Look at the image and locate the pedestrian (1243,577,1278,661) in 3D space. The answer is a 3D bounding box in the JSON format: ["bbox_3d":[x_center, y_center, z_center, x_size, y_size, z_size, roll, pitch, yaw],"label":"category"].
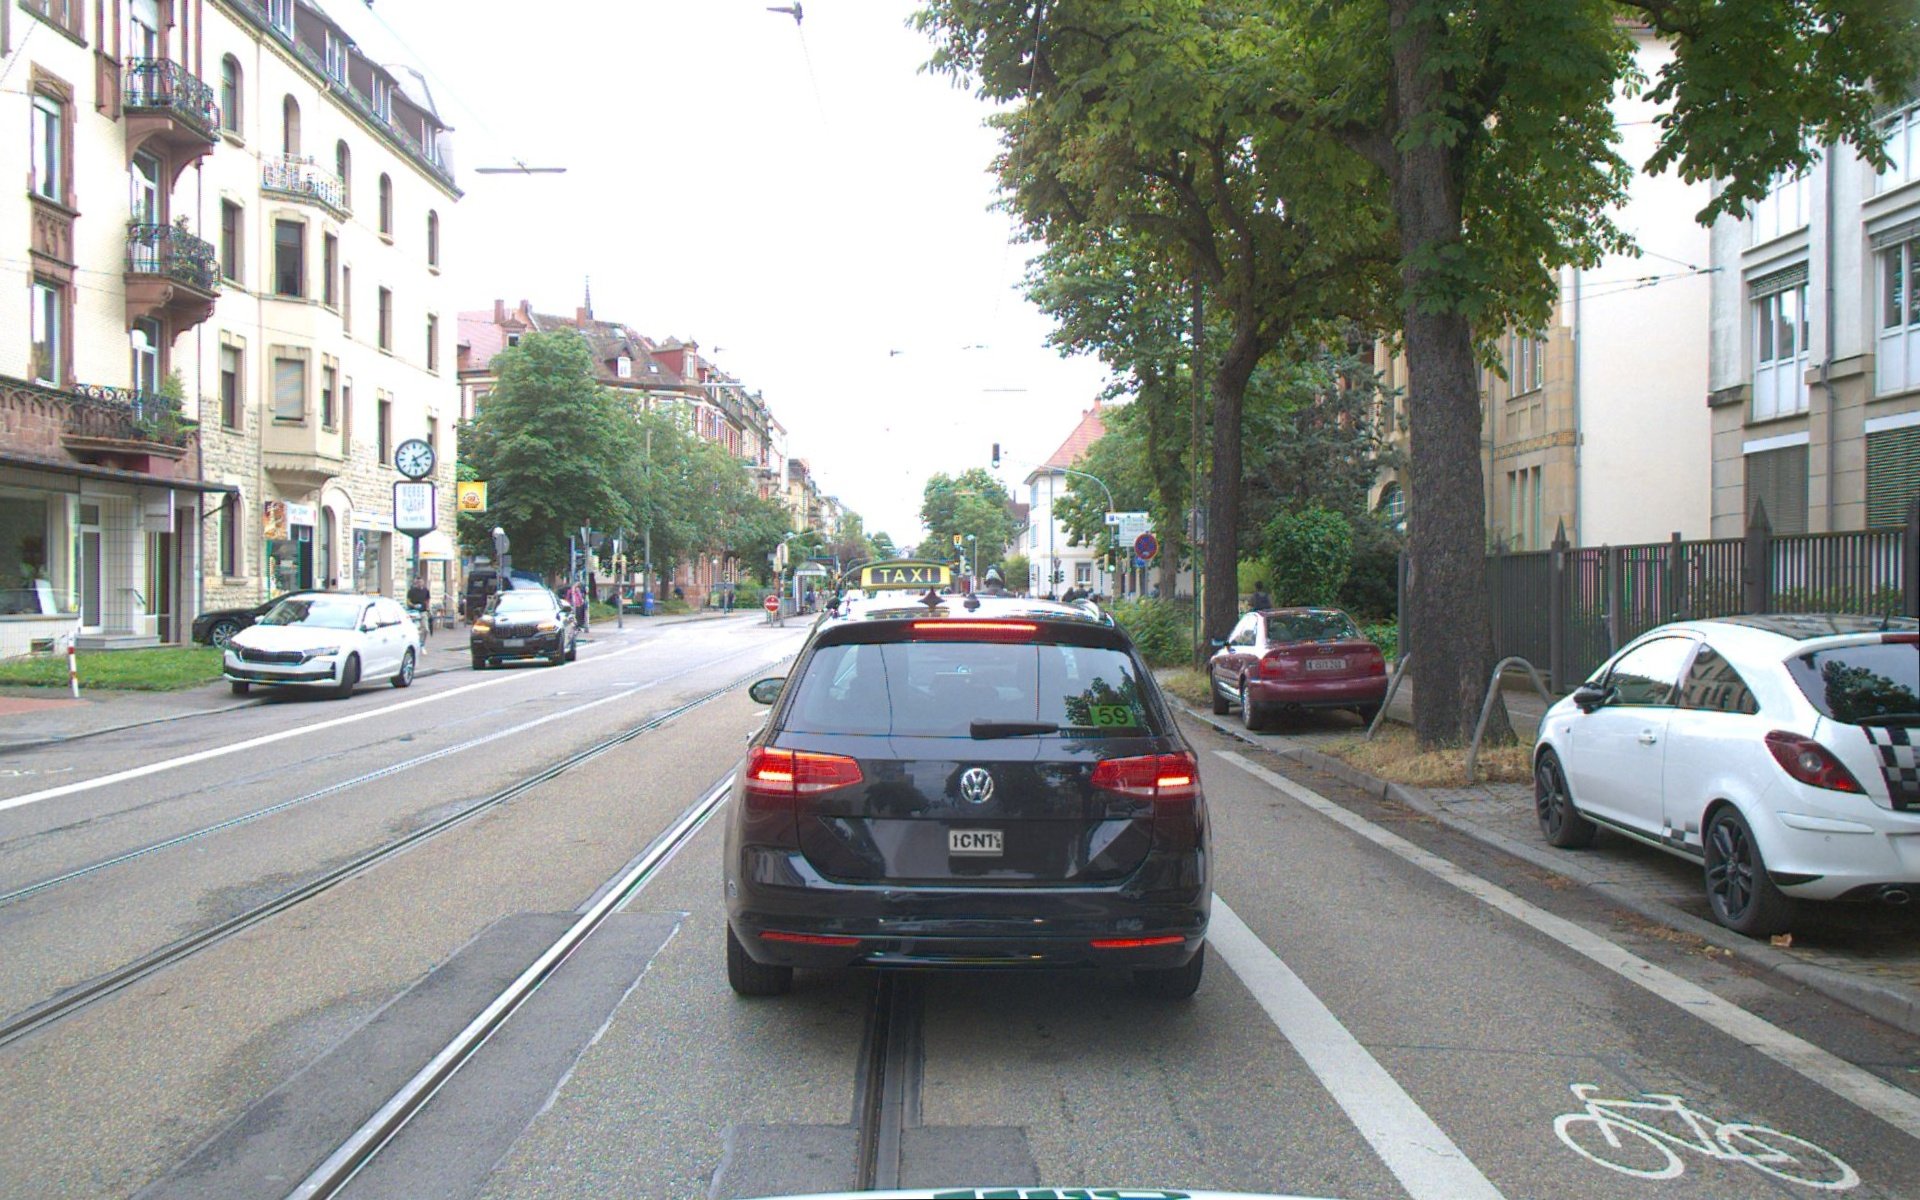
[{"bbox_3d":[6.675,0.420,36.741,0.619,1.846,0.726,0,0,-3],"label":"pedestrian"}]

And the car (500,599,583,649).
[{"bbox_3d":[-12.577,0.694,49.942,1.616,1.385,4.127,2,0,-3],"label":"car"}]

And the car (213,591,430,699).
[{"bbox_3d":[-9.802,0.629,25.783,1.712,1.510,4.607,0,0,-2],"label":"car"}]

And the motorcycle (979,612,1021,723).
[{"bbox_3d":[0.480,0.794,20.270,0.437,1.257,1.906,0,0,-1],"label":"motorcycle"}]

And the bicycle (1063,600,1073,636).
[{"bbox_3d":[3.698,0.614,56.384,0.247,1.217,1.158,0,0,8],"label":"bicycle"}]

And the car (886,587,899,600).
[{"bbox_3d":[-8.787,-0.825,215.693,1.686,1.651,3.862,0,0,-1],"label":"car"}]

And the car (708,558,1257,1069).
[{"bbox_3d":[0.044,0.648,7.114,1.688,1.573,3.999,0,0,-1],"label":"car"}]

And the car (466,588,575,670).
[{"bbox_3d":[-9.858,0.608,37.439,1.849,1.639,4.876,-3,0,-9],"label":"car"}]

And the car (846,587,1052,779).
[{"bbox_3d":[-0.119,0.672,15.636,1.688,1.573,3.999,0,0,-1],"label":"car"}]

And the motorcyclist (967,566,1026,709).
[{"bbox_3d":[0.438,0.448,20.269,0.688,1.722,0.804,0,0,-1],"label":"motorcyclist"}]

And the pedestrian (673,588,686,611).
[{"bbox_3d":[-18.662,-0.046,109.903,0.577,1.547,0.647,0,0,34],"label":"pedestrian"}]

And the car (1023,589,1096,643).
[{"bbox_3d":[3.075,0.494,51.751,1.953,1.605,3.999,1,0,-1],"label":"car"}]

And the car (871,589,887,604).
[{"bbox_3d":[-8.918,-0.398,182.402,1.686,1.651,3.862,0,0,-1],"label":"car"}]

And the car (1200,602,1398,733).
[{"bbox_3d":[4.199,0.777,21.111,1.569,1.423,4.226,-2,0,-1],"label":"car"}]

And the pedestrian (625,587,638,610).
[{"bbox_3d":[-21.890,-0.099,110.326,0.577,1.547,0.647,0,0,34],"label":"pedestrian"}]

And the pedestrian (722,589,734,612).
[{"bbox_3d":[-15.800,0.016,112.696,0.577,1.547,0.647,0,0,34],"label":"pedestrian"}]

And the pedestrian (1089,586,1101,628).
[{"bbox_3d":[5.094,0.252,62.514,0.441,1.589,0.479,0,0,7],"label":"pedestrian"}]

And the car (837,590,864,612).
[{"bbox_3d":[-9.421,0.070,142.622,1.952,1.822,4.000,1,0,1],"label":"car"}]

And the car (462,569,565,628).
[{"bbox_3d":[-19.539,-0.072,72.220,2.168,2.459,5.295,0,0,-43],"label":"car"}]

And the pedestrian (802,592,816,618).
[{"bbox_3d":[-8.715,0.287,95.489,0.699,1.547,0.590,0,0,0],"label":"pedestrian"}]

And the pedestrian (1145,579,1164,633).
[{"bbox_3d":[6.837,0.225,58.164,0.503,1.863,0.418,-3,0,15],"label":"pedestrian"}]

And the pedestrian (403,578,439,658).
[{"bbox_3d":[-12.831,0.428,39.392,0.655,1.876,0.880,-1,0,-9],"label":"pedestrian"}]

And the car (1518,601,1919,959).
[{"bbox_3d":[4.498,0.781,9.061,1.569,1.460,3.776,-2,0,0],"label":"car"}]

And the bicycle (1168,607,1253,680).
[{"bbox_3d":[4.327,0.751,28.486,0.426,1.219,1.891,0,-1,44],"label":"bicycle"}]

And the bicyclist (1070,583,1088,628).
[{"bbox_3d":[4.278,0.194,59.422,0.637,1.596,0.696,0,0,6],"label":"bicyclist"}]

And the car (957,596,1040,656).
[{"bbox_3d":[1.032,0.623,42.443,1.852,1.432,4.003,-1,0,5],"label":"car"}]

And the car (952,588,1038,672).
[{"bbox_3d":[0.666,0.583,33.470,1.574,1.583,3.577,1,0,-1],"label":"car"}]

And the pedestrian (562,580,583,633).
[{"bbox_3d":[-13.836,0.243,59.037,0.610,1.875,0.609,0,0,-3],"label":"pedestrian"}]

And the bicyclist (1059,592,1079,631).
[{"bbox_3d":[3.739,0.391,56.458,0.637,1.324,0.696,0,0,7],"label":"bicyclist"}]

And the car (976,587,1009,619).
[{"bbox_3d":[2.155,0.190,109.956,1.991,2.049,3.999,1,0,-1],"label":"car"}]

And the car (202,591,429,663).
[{"bbox_3d":[-14.372,0.592,37.095,4.340,1.394,1.878,2,0,-6],"label":"car"}]

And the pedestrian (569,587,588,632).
[{"bbox_3d":[-14.331,0.362,62.189,0.577,1.692,0.838,0,0,-4],"label":"pedestrian"}]

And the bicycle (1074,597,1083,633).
[{"bbox_3d":[4.253,0.532,59.348,0.291,1.244,1.431,0,0,6],"label":"bicycle"}]

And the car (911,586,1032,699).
[{"bbox_3d":[0.129,0.585,25.215,1.688,1.573,3.999,0,0,-1],"label":"car"}]
